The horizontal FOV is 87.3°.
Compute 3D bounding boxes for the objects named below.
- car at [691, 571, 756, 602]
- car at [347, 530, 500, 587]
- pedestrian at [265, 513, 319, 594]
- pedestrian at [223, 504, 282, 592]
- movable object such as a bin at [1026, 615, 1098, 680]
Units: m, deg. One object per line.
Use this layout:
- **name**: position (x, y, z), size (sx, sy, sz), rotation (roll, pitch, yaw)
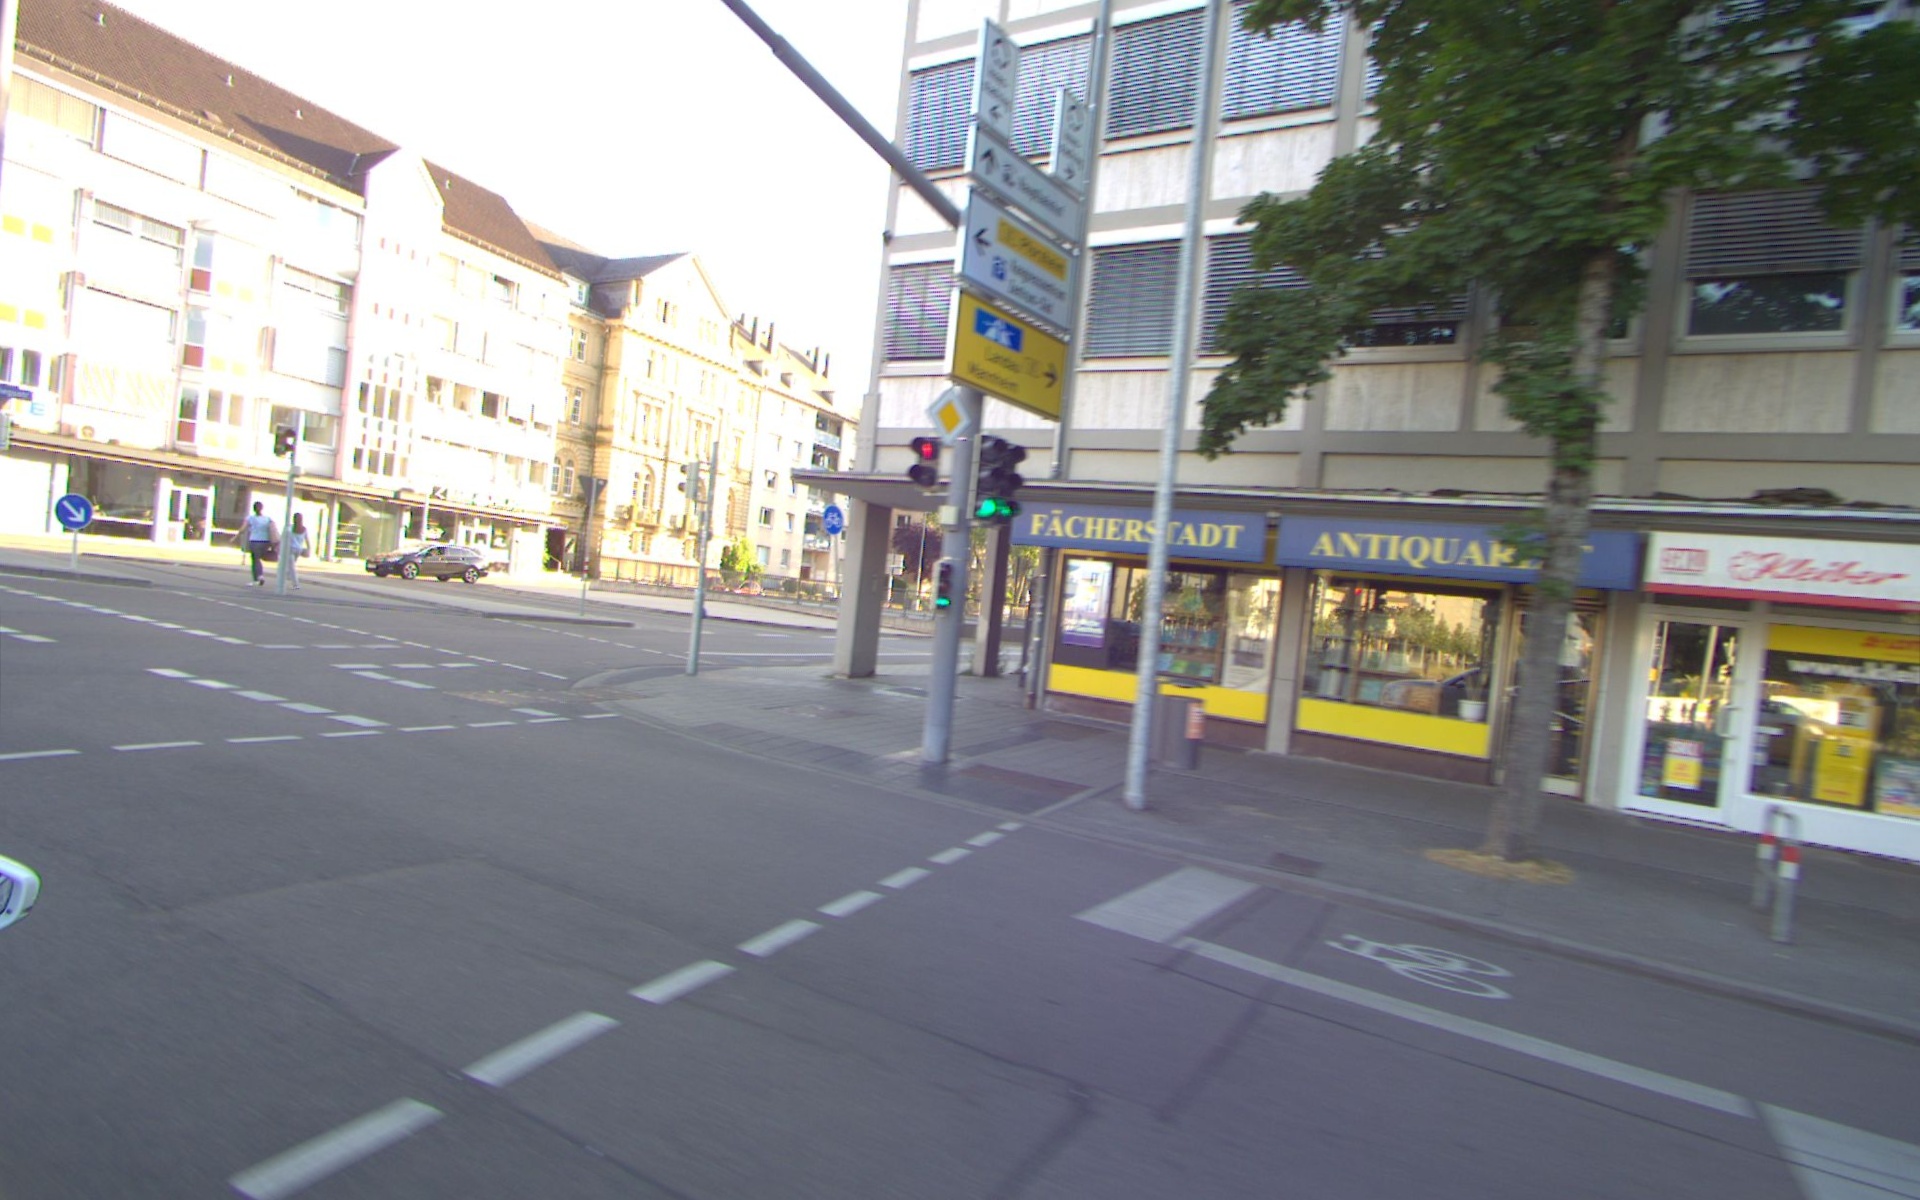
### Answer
- **car**: position (-14.144, -0.786, 60.304), size (1.620, 1.439, 3.893), rotation (6, 0, 25)
- **car**: position (-20.500, -1.562, 38.624), size (2.188, 1.575, 4.598), rotation (7, 0, 35)
- **pedestrian**: position (-14.128, -0.979, 21.282), size (0.696, 1.602, 0.821), rotation (6, 1, -24)
- **pedestrian**: position (-14.321, -1.053, 20.384), size (0.717, 1.670, 0.767), rotation (6, 1, -24)
- **movable object such as a bin**: position (2.317, 1.088, 22.762), size (0.945, 1.344, 1.410), rotation (7, 1, 34)
